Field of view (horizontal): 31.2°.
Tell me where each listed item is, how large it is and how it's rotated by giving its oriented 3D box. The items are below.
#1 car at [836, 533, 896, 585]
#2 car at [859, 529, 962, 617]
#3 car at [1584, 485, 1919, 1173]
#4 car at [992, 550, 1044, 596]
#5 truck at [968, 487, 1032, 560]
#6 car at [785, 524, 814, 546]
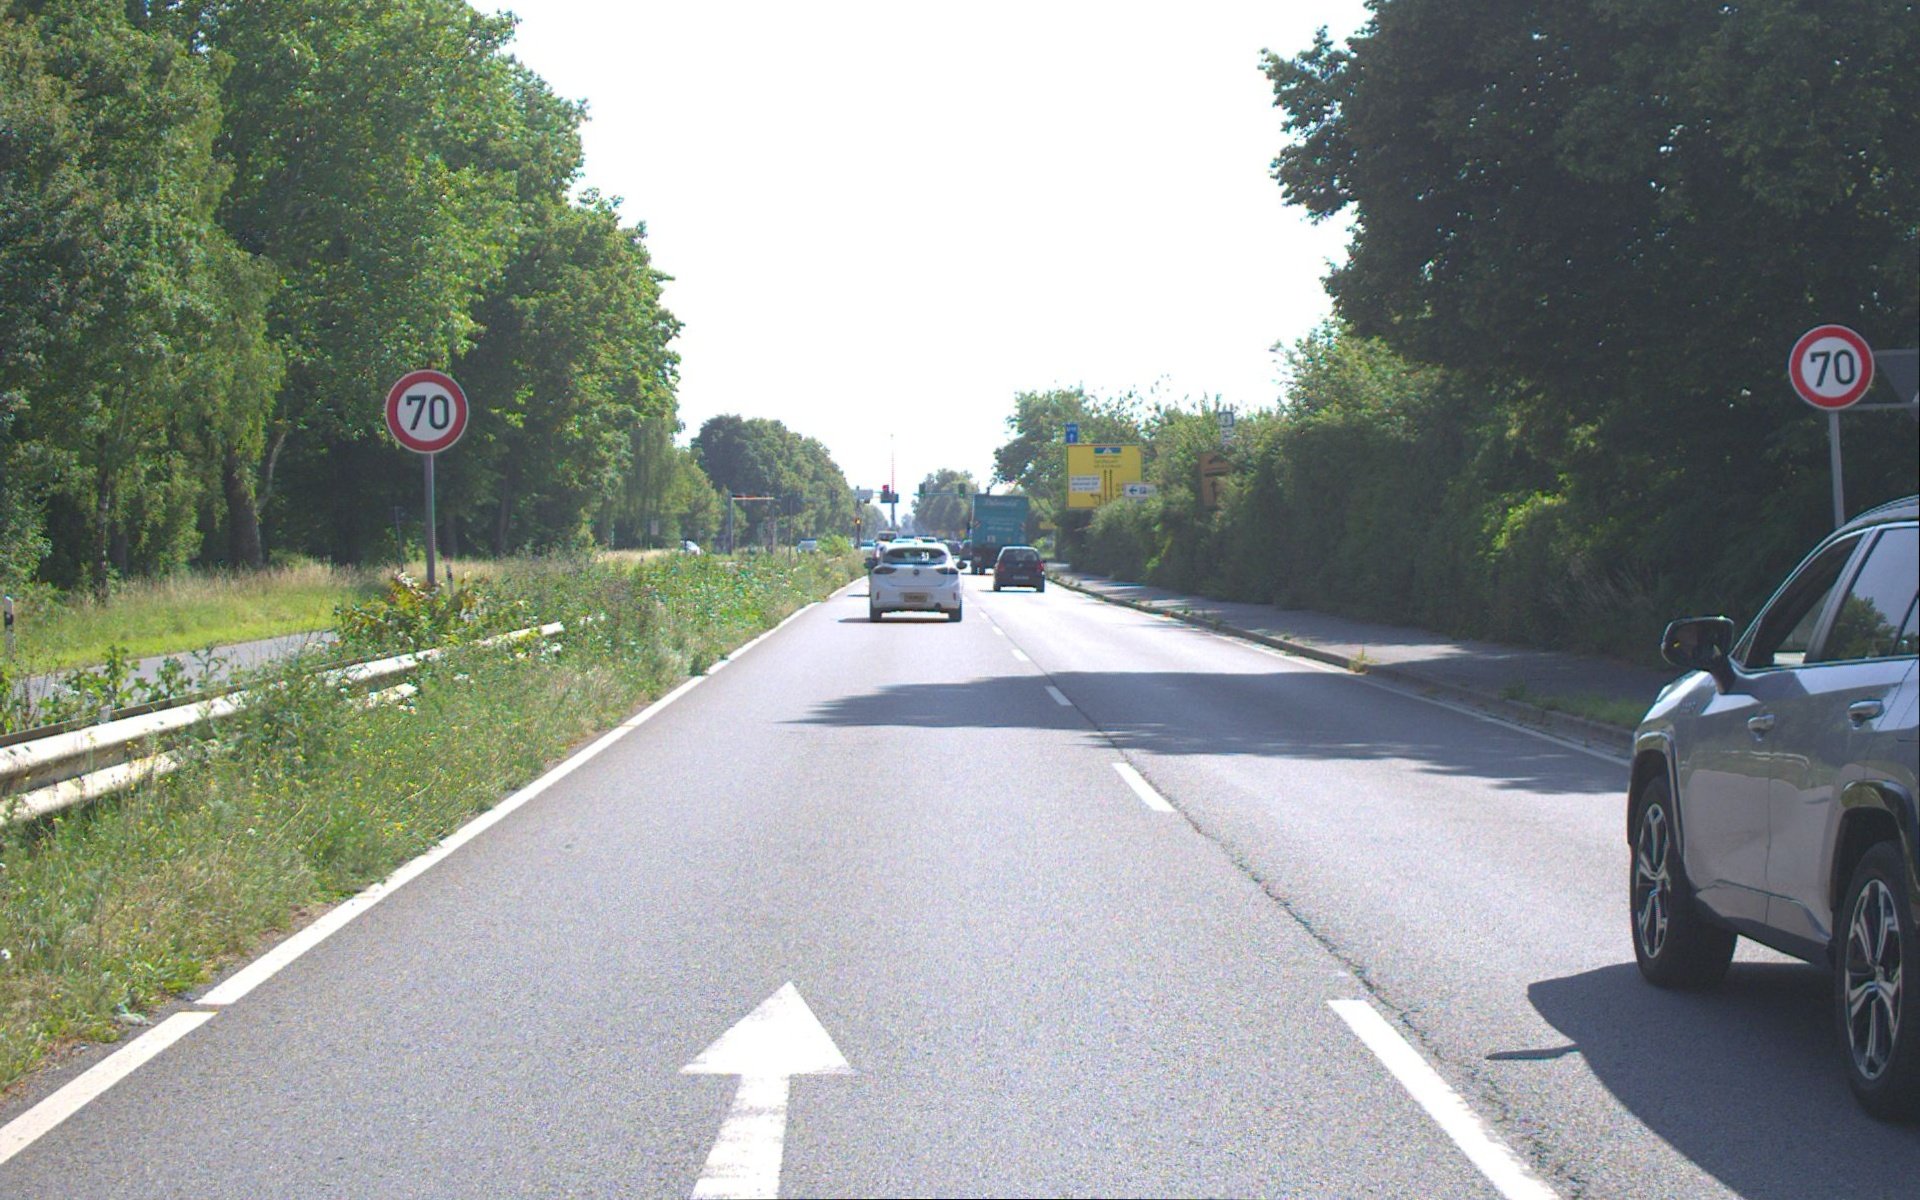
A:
[{"bbox_3d":[-2.600,-1.125,95.499,1.572,1.410,3.277,1,0,0],"label":"car"},{"bbox_3d":[-0.892,-0.527,63.993,1.799,1.547,4.000,1,1,0],"label":"car"},{"bbox_3d":[3.286,0.546,10.243,1.902,1.674,4.684,2,1,-1],"label":"car"},{"bbox_3d":[1.845,-0.853,109.861,1.572,1.410,3.277,1,0,0],"label":"car"},{"bbox_3d":[1.878,-3.664,165.015,2.891,3.417,9.169,0,1,0],"label":"truck"},{"bbox_3d":[-11.692,-4.739,251.023,1.779,1.525,4.161,-1,1,2],"label":"car"}]
